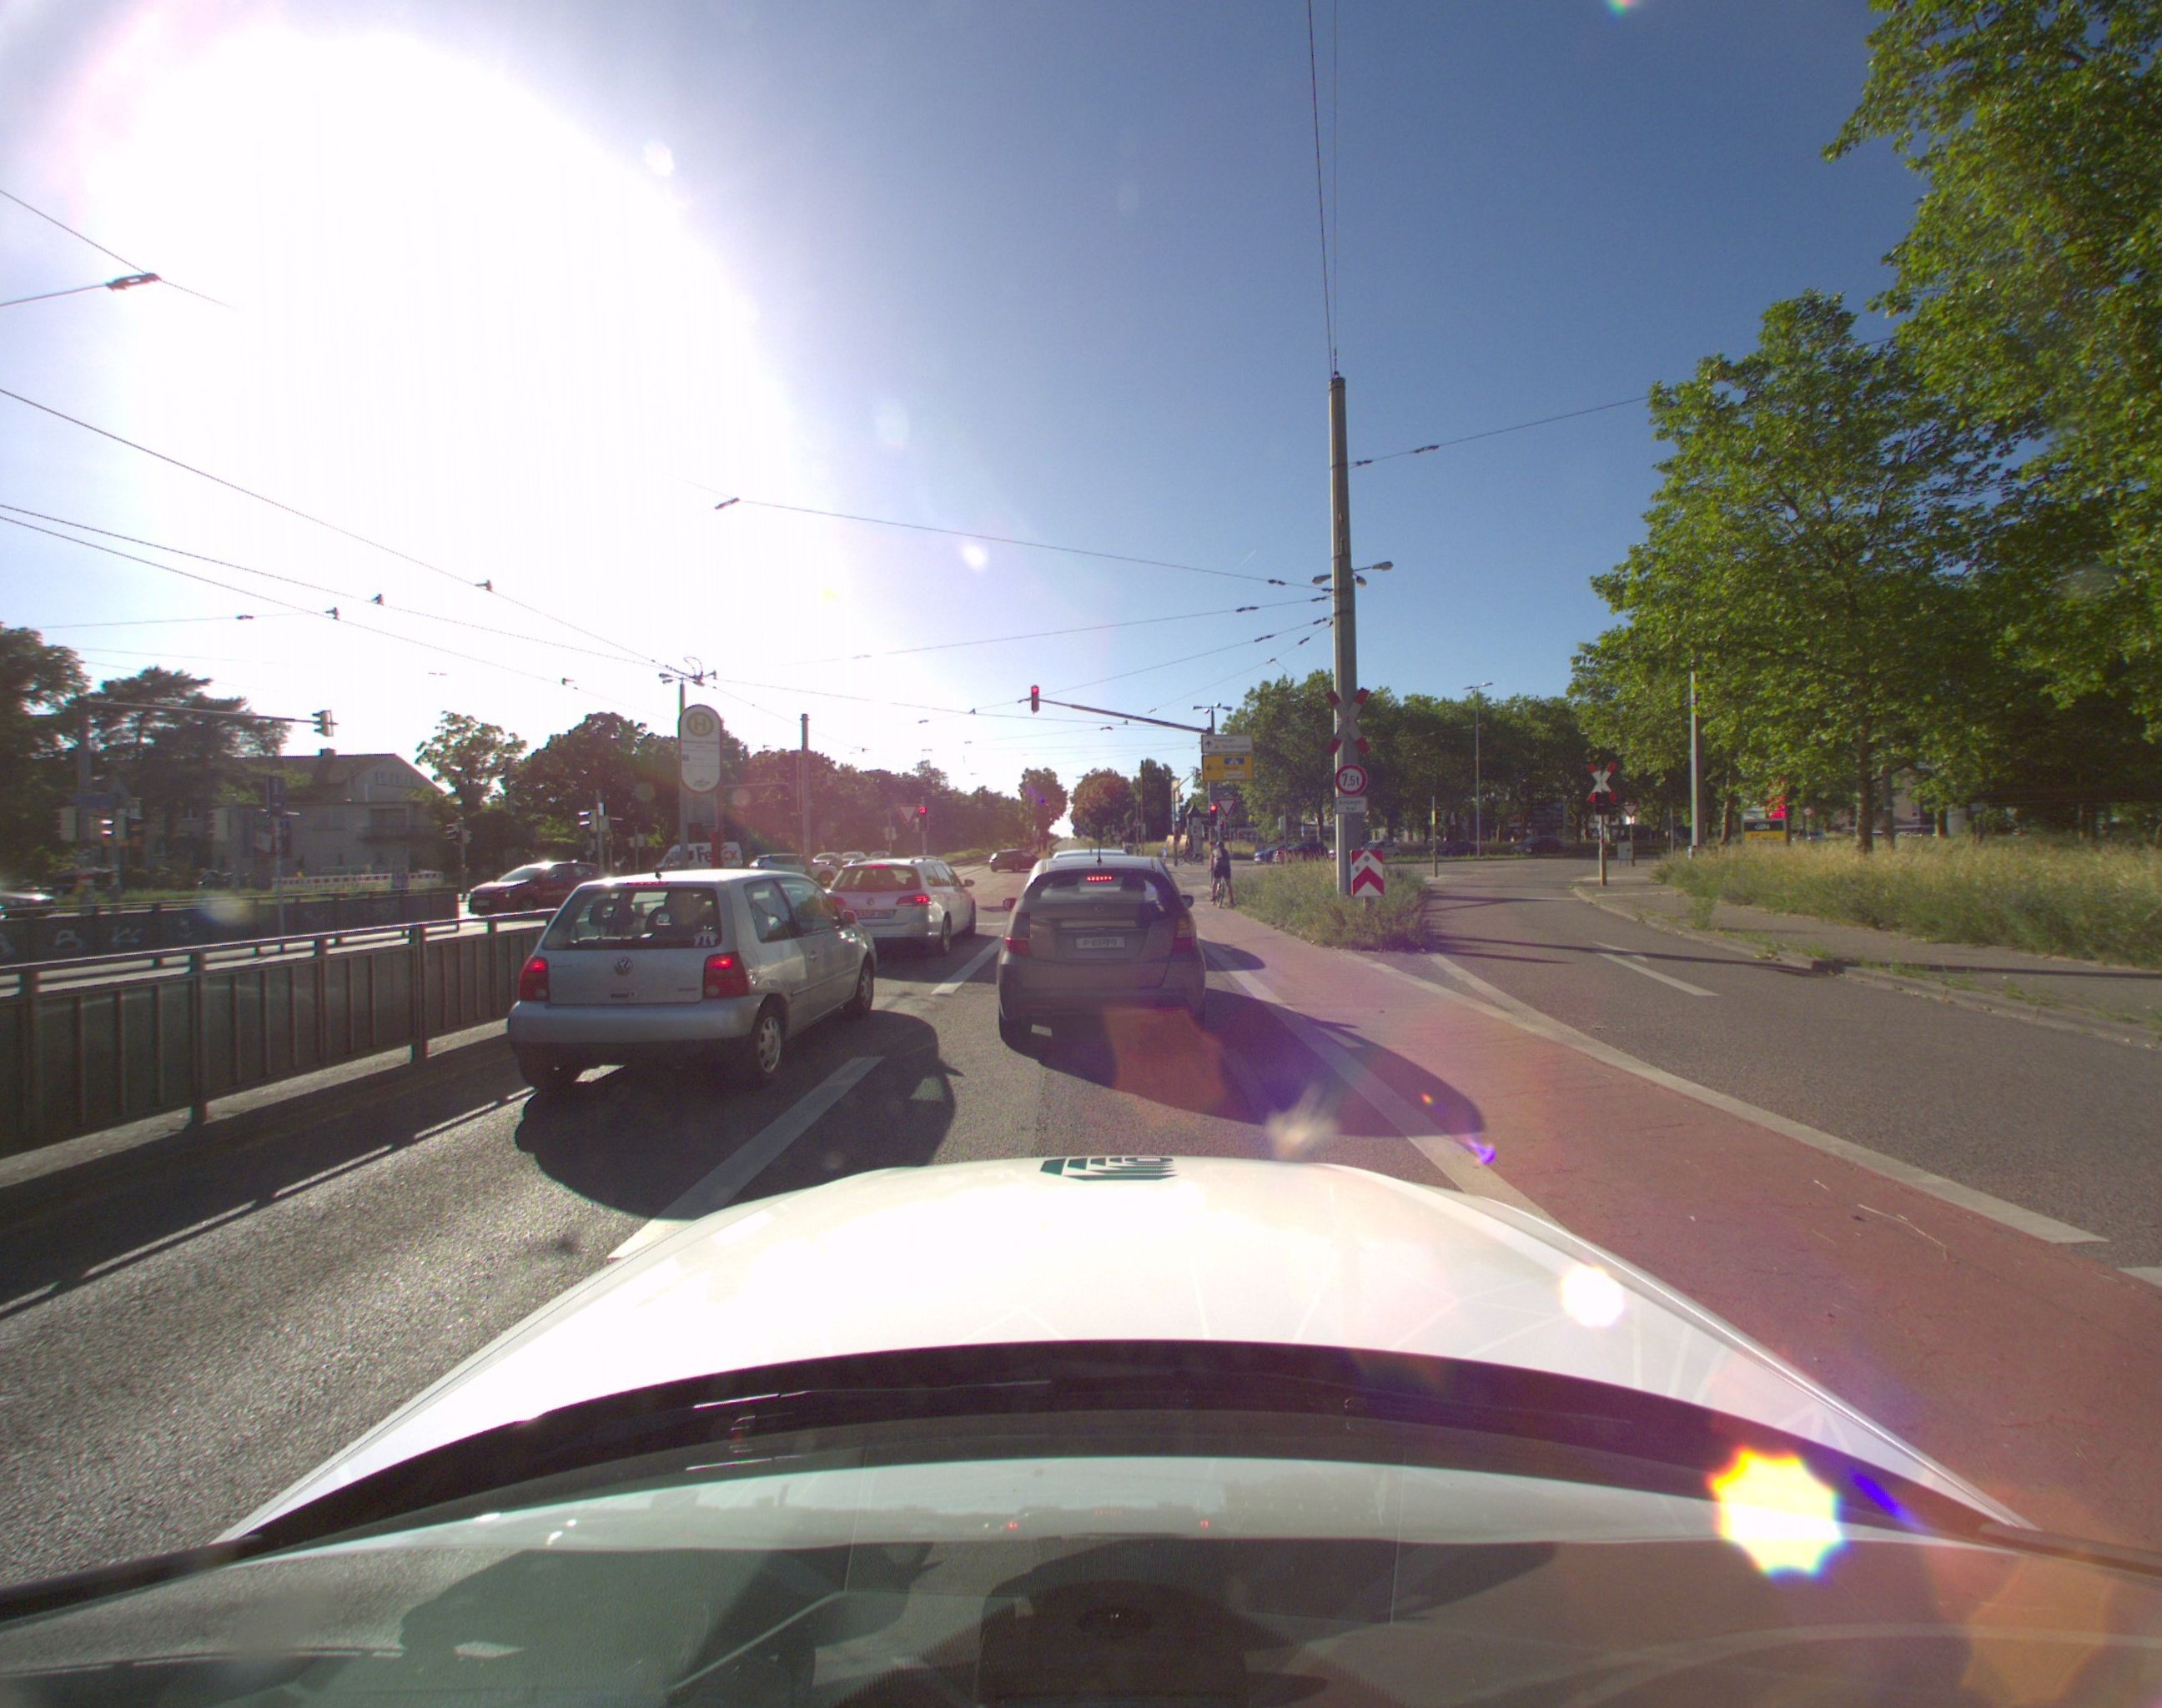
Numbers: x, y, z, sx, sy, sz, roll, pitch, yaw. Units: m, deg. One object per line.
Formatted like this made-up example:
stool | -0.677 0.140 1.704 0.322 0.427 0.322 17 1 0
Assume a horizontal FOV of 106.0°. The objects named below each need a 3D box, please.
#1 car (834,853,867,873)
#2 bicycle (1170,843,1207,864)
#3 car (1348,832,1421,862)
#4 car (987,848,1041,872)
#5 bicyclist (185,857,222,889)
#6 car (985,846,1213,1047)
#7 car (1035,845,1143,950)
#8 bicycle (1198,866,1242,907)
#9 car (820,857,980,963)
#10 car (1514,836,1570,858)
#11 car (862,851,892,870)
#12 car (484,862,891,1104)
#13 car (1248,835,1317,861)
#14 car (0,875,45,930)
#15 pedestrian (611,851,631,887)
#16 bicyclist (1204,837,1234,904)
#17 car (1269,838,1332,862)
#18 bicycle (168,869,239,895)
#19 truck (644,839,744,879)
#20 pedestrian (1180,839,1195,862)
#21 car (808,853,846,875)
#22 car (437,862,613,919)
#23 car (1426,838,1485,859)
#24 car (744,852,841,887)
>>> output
car | -18.874 0.734 66.853 1.829 1.548 4.277 -2 0 -5
bicycle | 8.484 -0.069 64.318 3.230 1.574 0.812 -2 0 -38
car | 22.161 -0.529 59.546 4.906 2.013 1.986 -2 0 -22
car | -4.117 0.353 50.783 1.508 1.378 3.699 -2 0 29
bicyclist | -46.159 0.974 42.848 1.009 1.647 0.813 -1 0 -17
car | 0.124 0.678 7.837 1.663 1.462 3.585 -1 0 -1
car | 0.164 0.660 14.477 1.605 1.562 4.289 -1 0 1
bicycle | 3.654 0.838 21.647 0.719 0.989 2.876 0 0 1
car | -2.760 0.781 13.329 1.613 1.457 4.086 -1 0 1
car | 34.651 -0.533 61.198 3.989 1.544 1.580 -2 0 -24
car | -18.736 0.579 75.109 1.991 1.604 4.745 0 1 -6
car | -2.813 0.808 6.681 1.613 1.417 3.352 -2 0 1
car | 14.961 -0.402 60.380 4.705 1.879 1.986 0 0 -21
car | -32.004 1.413 21.858 4.844 1.497 1.771 -2 0 -25
pedestrian | -26.501 0.867 46.909 0.748 2.013 0.788 -2 0 -11
bicyclist | 3.653 0.431 21.569 0.663 1.716 0.948 0 -1 1
car | 15.079 -0.283 56.060 4.002 1.531 1.594 -2 0 -22
bicycle | -46.153 1.466 42.866 2.402 1.263 0.813 -1 0 -17
truck | -26.898 0.309 56.999 1.977 2.565 6.856 -1 0 19
pedestrian | 8.415 -0.270 64.293 0.859 1.836 0.782 -2 0 -37
car | -18.978 0.733 61.060 1.829 1.548 3.993 -2 0 -5
car | -15.725 0.984 23.306 1.592 1.402 4.034 -1 0 16
car | 30.934 -0.481 67.275 4.526 1.574 1.681 -2 0 -21
car | -13.779 0.713 38.984 4.018 1.478 1.696 -2 0 -36
